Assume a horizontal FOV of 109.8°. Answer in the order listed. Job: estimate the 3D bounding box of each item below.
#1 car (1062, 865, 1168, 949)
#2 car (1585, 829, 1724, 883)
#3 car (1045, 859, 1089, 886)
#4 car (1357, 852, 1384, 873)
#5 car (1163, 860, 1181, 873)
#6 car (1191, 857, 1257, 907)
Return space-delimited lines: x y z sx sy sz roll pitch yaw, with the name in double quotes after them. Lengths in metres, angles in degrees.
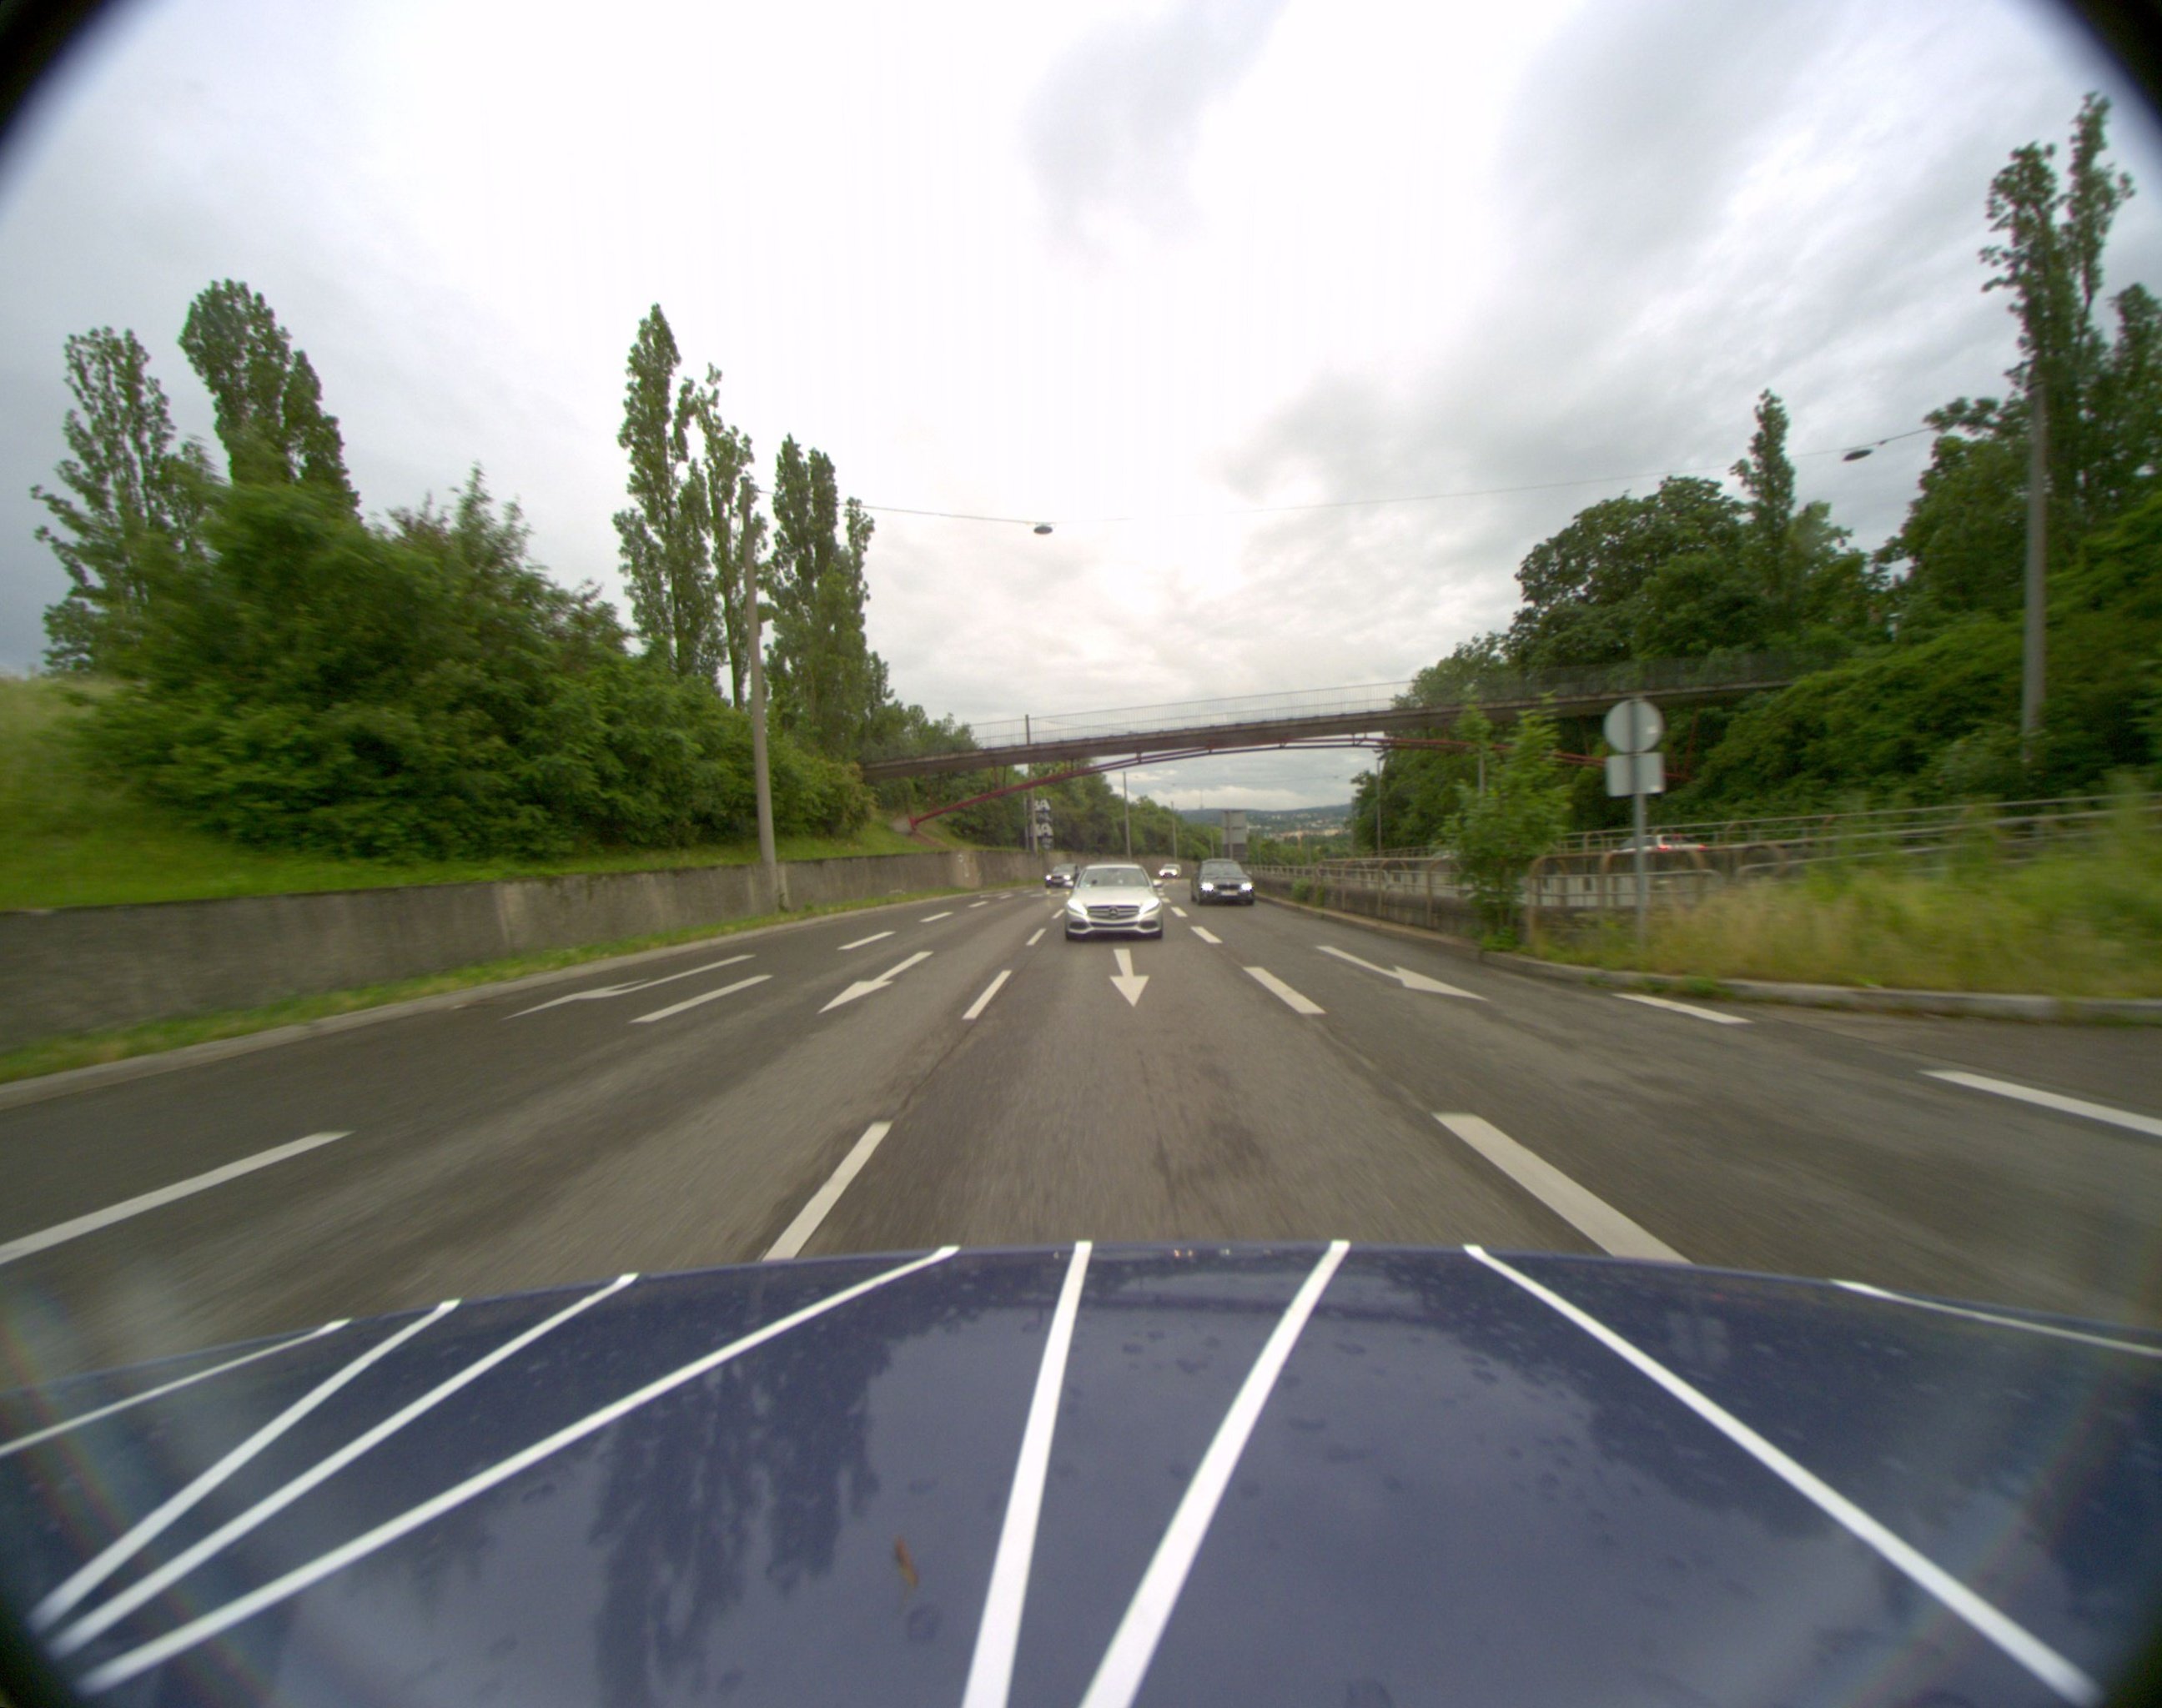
0.743 0.962 15.509 1.861 1.395 4.316 0 0 4 "car"
21.611 0.057 28.916 1.998 1.824 4.632 -2 0 5 "car"
-0.798 1.090 45.748 1.808 1.501 4.003 -3 0 10 "car"
27.998 0.816 73.641 1.674 1.904 4.563 0 0 10 "car"
11.324 1.577 94.494 1.808 1.501 4.004 -3 0 12 "car"
4.628 0.870 25.019 1.729 1.462 3.889 -1 0 5 "car"
